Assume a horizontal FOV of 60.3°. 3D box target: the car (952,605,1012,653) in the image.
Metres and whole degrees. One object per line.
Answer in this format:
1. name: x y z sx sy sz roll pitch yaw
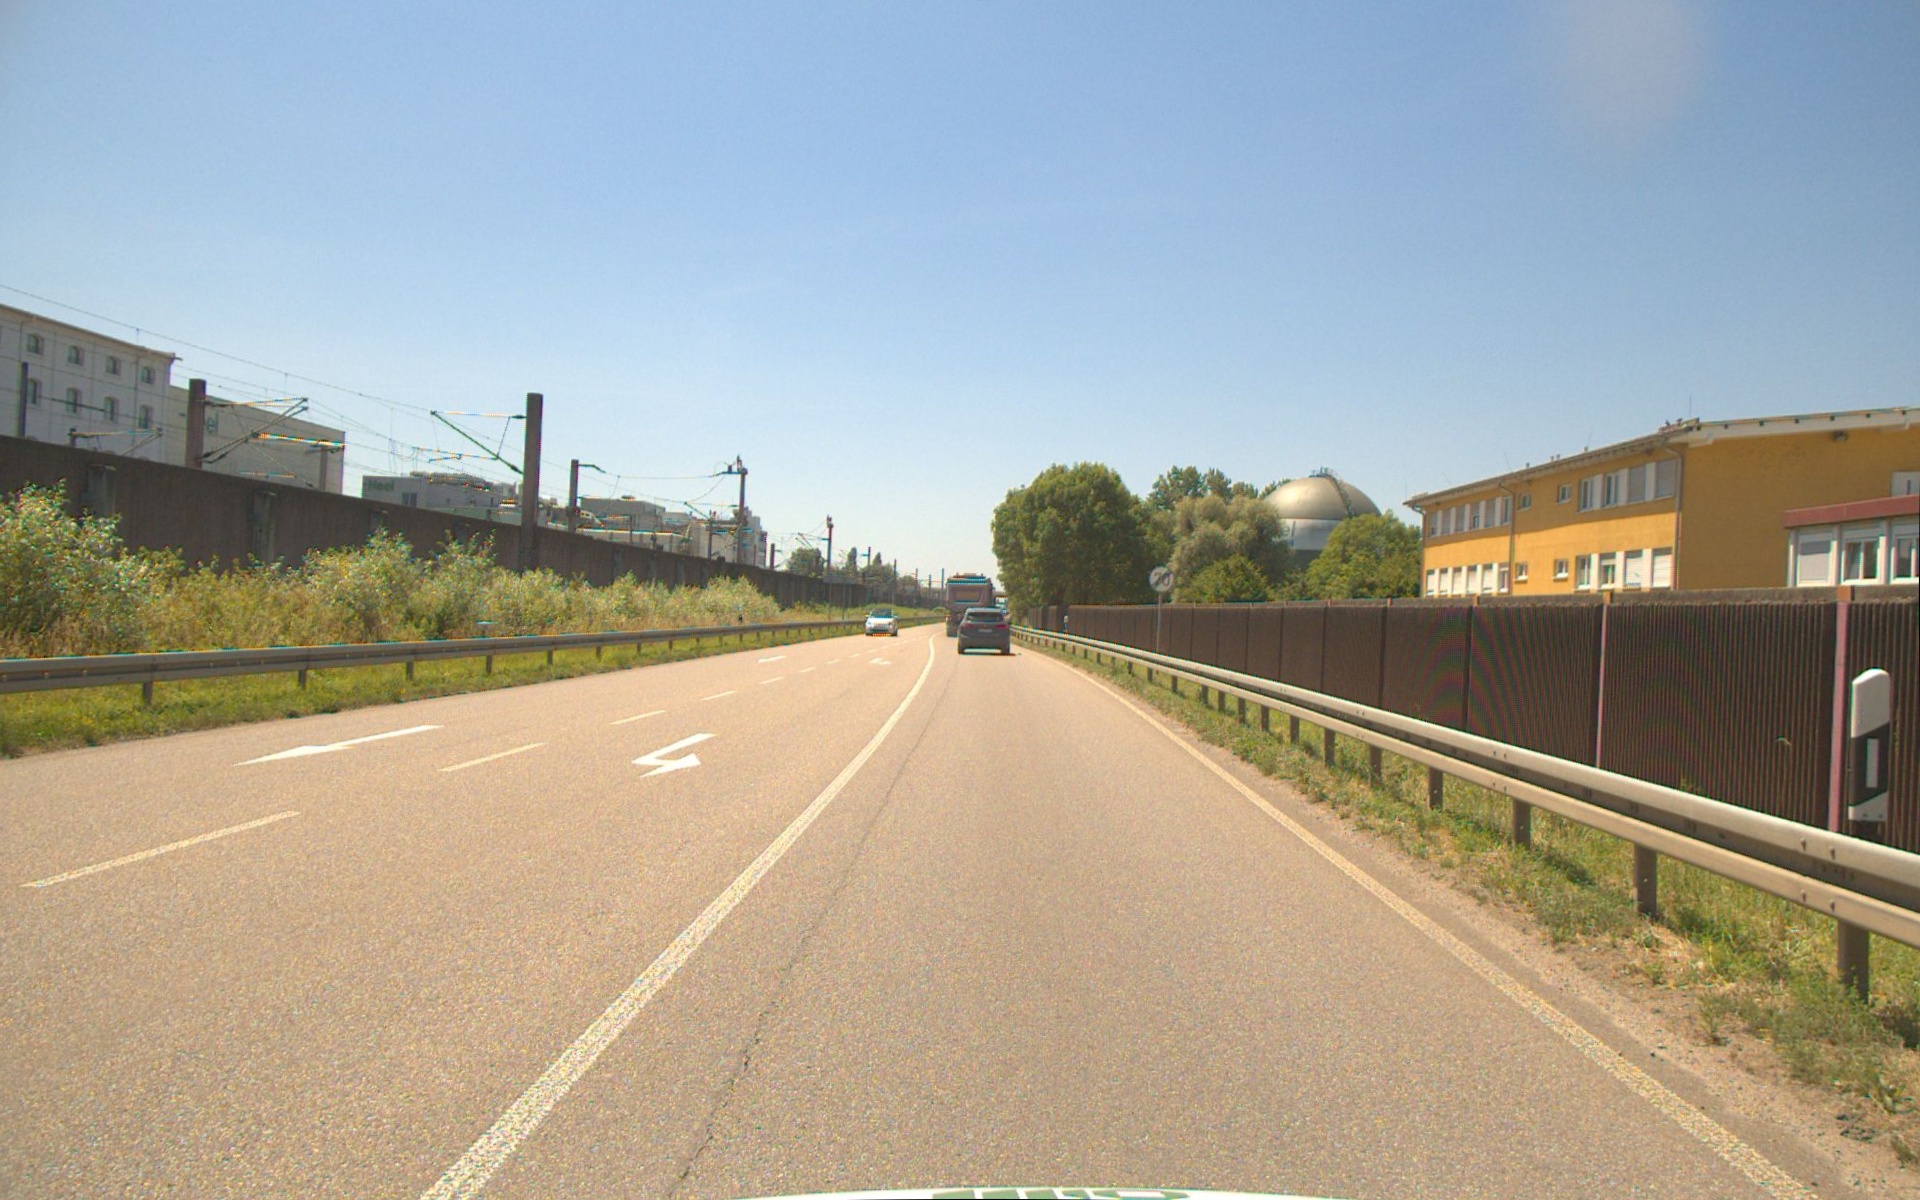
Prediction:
1. car: 0.782 1.041 57.555 1.952 1.529 4.000 2 -2 1

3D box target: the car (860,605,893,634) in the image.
1. car: -4.633 1.060 92.014 1.638 1.528 3.721 1 0 0

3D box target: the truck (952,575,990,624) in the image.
1. truck: 0.865 0.056 136.617 2.935 3.785 10.556 1 -1 0

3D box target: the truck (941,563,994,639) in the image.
1. truck: 0.386 0.169 99.569 2.935 4.254 11.805 1 -1 -1
